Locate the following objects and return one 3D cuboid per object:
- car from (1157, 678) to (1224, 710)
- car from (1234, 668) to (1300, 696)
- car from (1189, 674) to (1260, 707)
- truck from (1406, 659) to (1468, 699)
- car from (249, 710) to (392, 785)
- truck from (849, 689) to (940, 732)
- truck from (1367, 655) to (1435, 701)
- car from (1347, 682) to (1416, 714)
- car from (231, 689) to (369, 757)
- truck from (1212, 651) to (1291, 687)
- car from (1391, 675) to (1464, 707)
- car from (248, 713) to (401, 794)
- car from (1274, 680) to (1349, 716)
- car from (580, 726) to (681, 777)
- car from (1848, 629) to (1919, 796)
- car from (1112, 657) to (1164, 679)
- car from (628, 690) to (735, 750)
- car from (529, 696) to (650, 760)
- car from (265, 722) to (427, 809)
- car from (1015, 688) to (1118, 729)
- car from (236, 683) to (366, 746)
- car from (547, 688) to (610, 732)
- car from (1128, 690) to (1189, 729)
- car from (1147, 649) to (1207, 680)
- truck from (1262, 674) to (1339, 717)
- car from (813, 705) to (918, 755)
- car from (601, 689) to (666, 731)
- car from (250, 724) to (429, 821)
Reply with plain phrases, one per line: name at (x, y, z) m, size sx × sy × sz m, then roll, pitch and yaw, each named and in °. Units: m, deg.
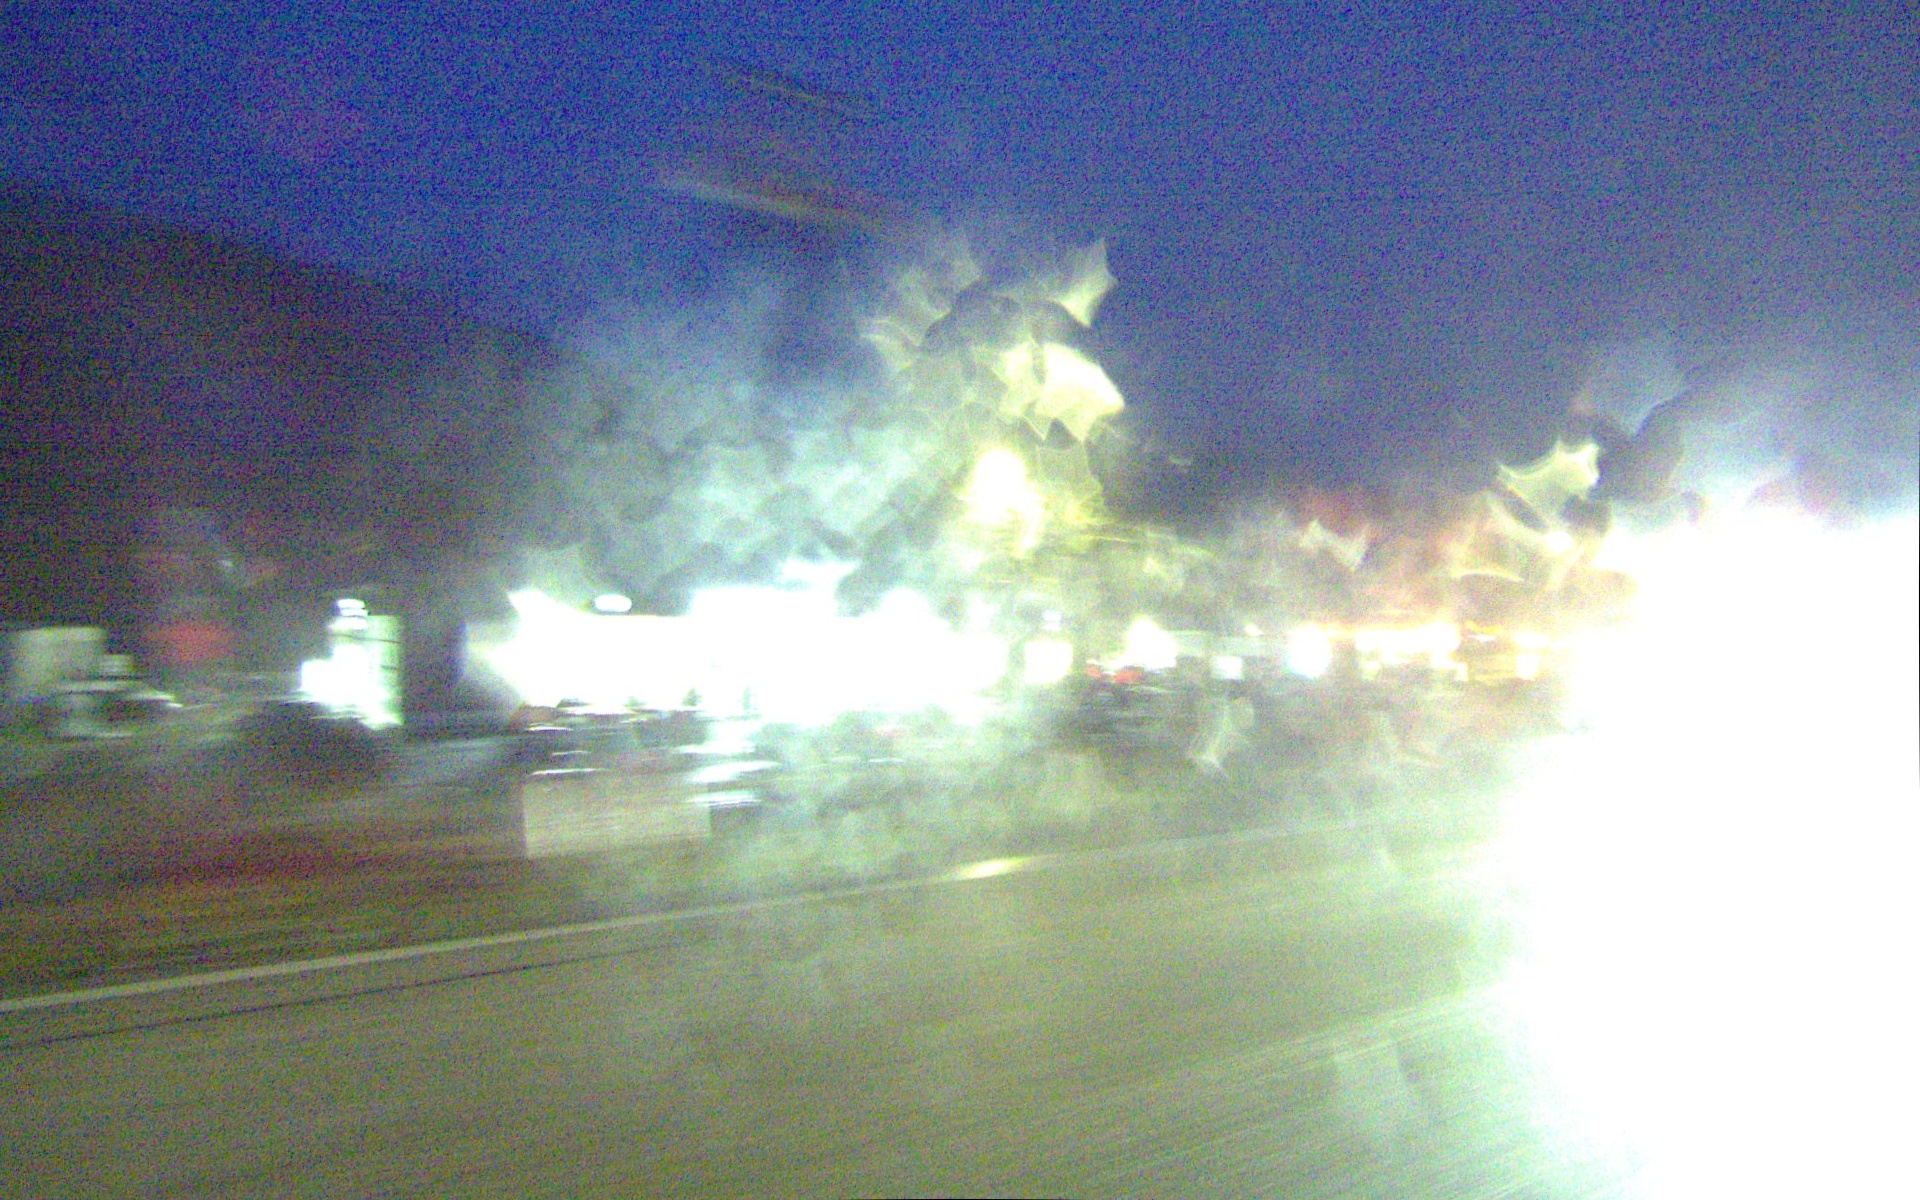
car at (12.406, 5.044, 54.053) m, size 3.480 × 1.638 × 1.669 m, roll 3°, pitch -6°, yaw -36°
car at (19.183, 5.115, 62.744) m, size 3.959 × 1.616 × 1.762 m, roll 3°, pitch -7°, yaw -34°
car at (13.671, 4.651, 51.939) m, size 3.480 × 1.638 × 1.734 m, roll 3°, pitch -6°, yaw -36°
truck at (33.866, 5.613, 71.267) m, size 5.132 × 2.664 × 1.759 m, roll 3°, pitch -7°, yaw -38°
car at (-20.555, 4.682, 32.332) m, size 3.693 × 1.932 × 1.702 m, roll 2°, pitch -1°, yaw -40°
truck at (-3.479, 5.896, 53.733) m, size 4.453 × 2.145 × 2.070 m, roll 3°, pitch -7°, yaw -36°
truck at (32.347, 5.739, 73.589) m, size 5.661 × 3.215 × 1.988 m, roll 3°, pitch -7°, yaw -38°
car at (23.774, 5.534, 56.662) m, size 3.712 × 1.715 × 1.762 m, roll 3°, pitch -7°, yaw -34°
car at (-23.873, 4.394, 36.389) m, size 3.970 × 2.040 × 1.718 m, roll 2°, pitch -1°, yaw -42°
truck at (21.864, 5.134, 75.197) m, size 6.436 × 2.495 × 2.302 m, roll 2°, pitch -1°, yaw -39°
car at (25.408, 4.941, 54.599) m, size 3.959 × 1.616 × 1.762 m, roll 3°, pitch -7°, yaw -34°
car at (-19.096, 4.553, 30.259) m, size 3.693 × 1.932 × 1.702 m, roll 2°, pitch -1°, yaw -40°
car at (16.876, 4.665, 48.200) m, size 3.480 × 1.638 × 1.734 m, roll 3°, pitch -6°, yaw -36°
car at (-9.260, 4.176, 28.042) m, size 1.827 × 1.216 × 3.969 m, roll 3°, pitch -7°, yaw -31°
car at (10.133, 1.040, 9.313) m, size 4.275 × 1.398 × 1.583 m, roll 2°, pitch 0°, yaw -30°
car at (14.807, 5.659, 83.515) m, size 3.950 × 1.735 × 1.851 m, roll 2°, pitch -1°, yaw -28°
car at (-10.134, 4.299, 36.422) m, size 3.945 × 1.662 × 1.988 m, roll 1°, pitch 0°, yaw 44°
car at (-12.790, 4.354, 34.603) m, size 3.932 × 1.662 × 1.994 m, roll 1°, pitch 0°, yaw 34°
car at (-17.269, 4.585, 28.316) m, size 3.693 × 1.932 × 1.702 m, roll 2°, pitch -1°, yaw -40°
car at (4.542, 4.522, 42.194) m, size 1.970 × 1.587 × 4.834 m, roll -4°, pitch -6°, yaw 39°
car at (-25.367, 4.351, 38.712) m, size 3.970 × 2.040 × 1.718 m, roll 2°, pitch -1°, yaw -42°
car at (-17.119, 4.914, 44.983) m, size 1.911 × 1.879 × 3.969 m, roll 3°, pitch -7°, yaw -31°
car at (8.909, 4.849, 44.854) m, size 1.783 × 1.587 × 4.206 m, roll -3°, pitch -5°, yaw 24°
car at (17.139, 5.085, 79.198) m, size 4.406 × 2.294 × 1.984 m, roll 2°, pitch -1°, yaw -30°
truck at (20.593, 5.765, 60.656) m, size 4.769 × 2.475 × 1.762 m, roll 3°, pitch -7°, yaw -34°
car at (-3.141, 4.194, 32.668) m, size 1.890 × 1.473 × 3.969 m, roll 3°, pitch -7°, yaw -31°
car at (-15.208, 5.110, 46.677) m, size 1.978 × 1.879 × 3.969 m, roll 3°, pitch -7°, yaw -31°
car at (-15.870, 4.343, 25.772) m, size 3.693 × 1.932 × 1.702 m, roll 2°, pitch -1°, yaw -40°
